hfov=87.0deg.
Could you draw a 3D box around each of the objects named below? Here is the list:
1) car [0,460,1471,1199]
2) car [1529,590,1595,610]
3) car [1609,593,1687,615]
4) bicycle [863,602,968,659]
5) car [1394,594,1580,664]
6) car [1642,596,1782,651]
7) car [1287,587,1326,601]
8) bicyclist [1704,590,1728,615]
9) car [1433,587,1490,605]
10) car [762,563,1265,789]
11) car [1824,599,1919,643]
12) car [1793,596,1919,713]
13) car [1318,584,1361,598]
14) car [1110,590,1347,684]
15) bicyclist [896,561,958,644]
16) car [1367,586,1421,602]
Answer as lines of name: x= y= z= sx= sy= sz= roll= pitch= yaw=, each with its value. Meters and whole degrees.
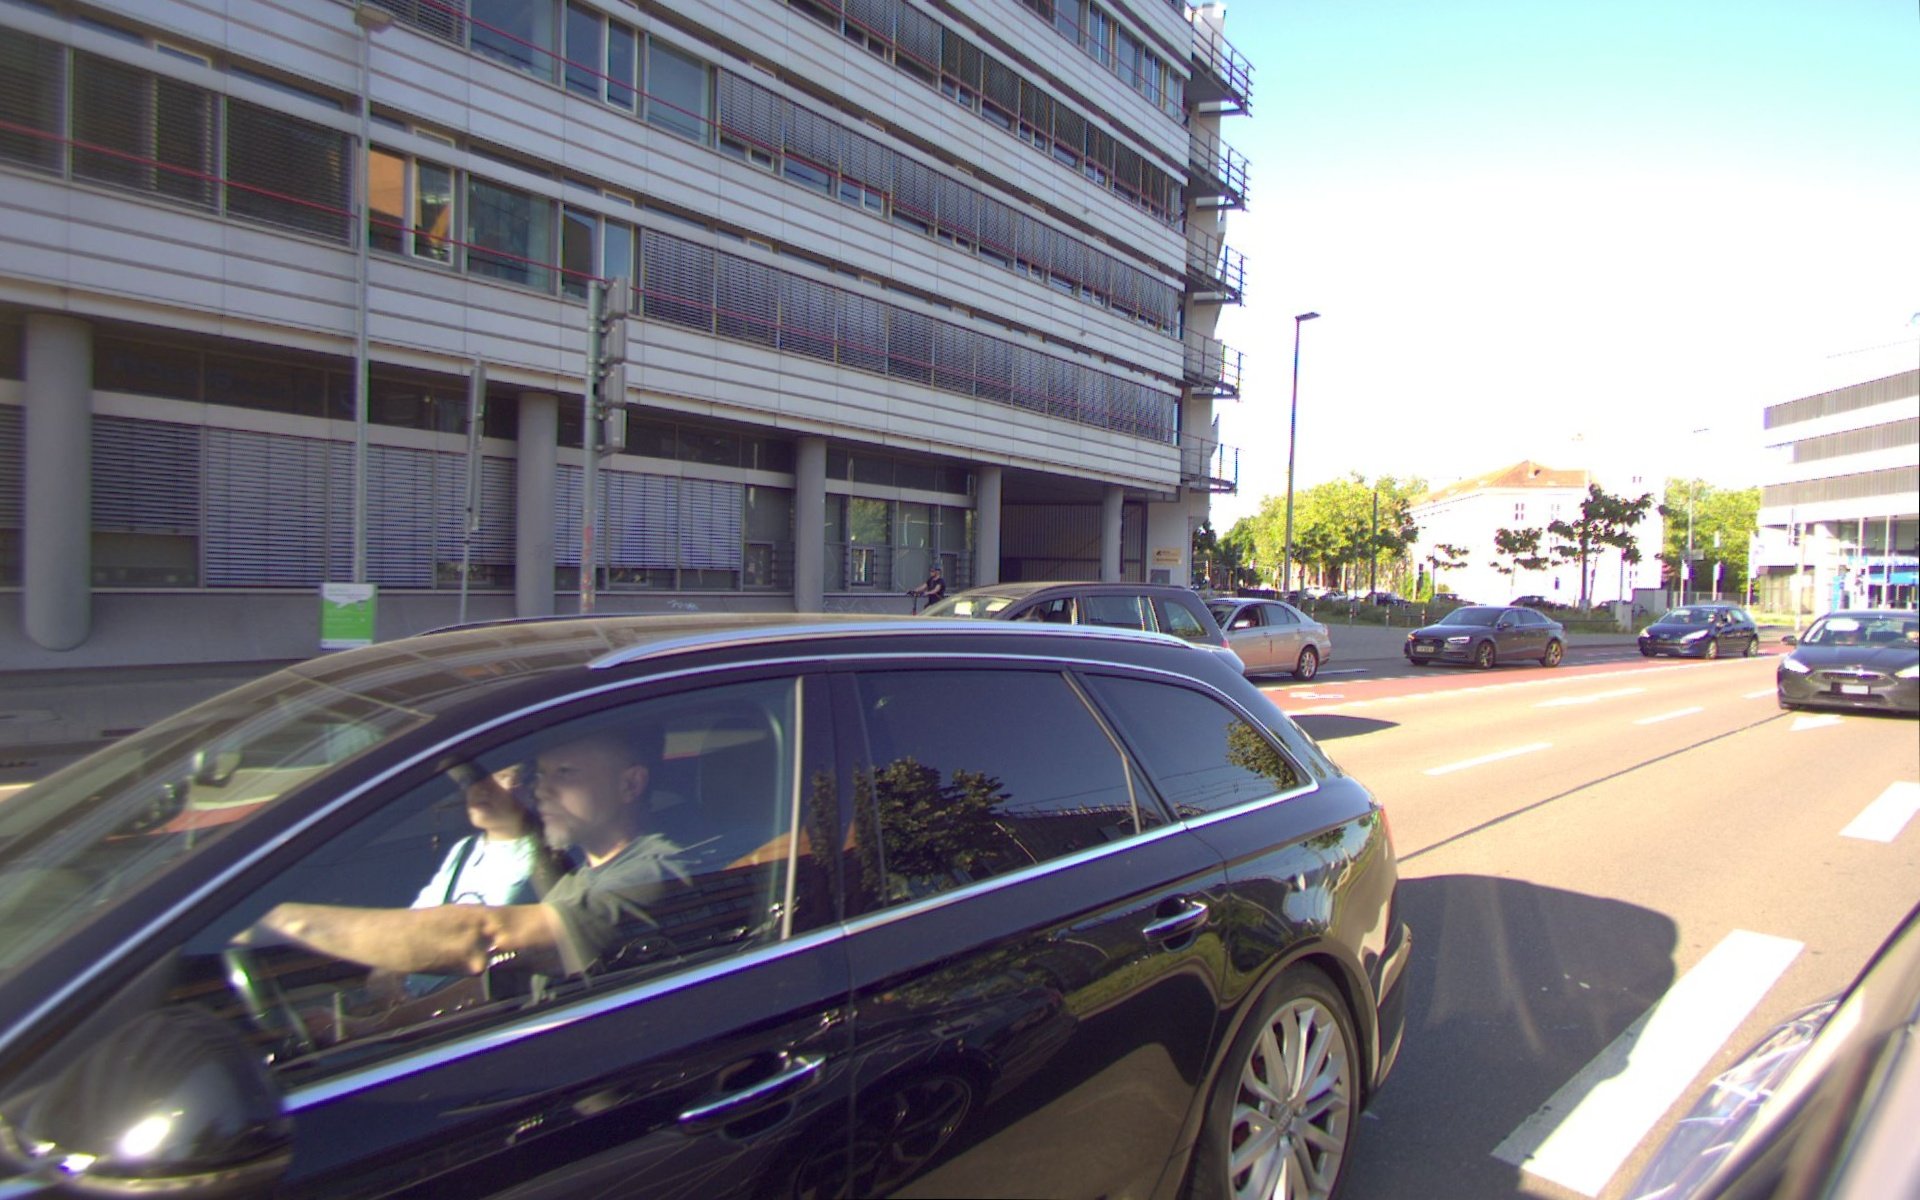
car: x=-1.012 y=0.650 z=1.798 sx=4.416 sy=1.511 sz=1.814 roll=0 pitch=-1 yaw=-40
car: x=47.059 y=-0.004 z=79.217 sx=1.958 sy=1.439 sz=4.008 roll=0 pitch=1 yaw=-23
car: x=49.938 y=0.255 z=73.580 sx=1.958 sy=1.439 sz=4.304 roll=0 pitch=1 yaw=-23
bicycle: x=-0.853 y=0.583 z=19.940 sx=2.165 sy=1.045 sz=0.500 roll=0 pitch=1 yaw=-38
car: x=12.059 y=0.620 z=23.130 sx=4.026 sy=1.459 sz=1.718 roll=0 pitch=1 yaw=-26
car: x=21.516 y=0.674 z=28.951 sx=3.919 sy=1.464 sz=1.739 roll=1 pitch=0 yaw=-29
car: x=36.299 y=-0.651 z=106.081 sx=1.894 sy=1.393 sz=4.009 roll=1 pitch=1 yaw=-17
bicyclist: x=50.023 y=0.164 z=66.980 sx=0.862 sy=1.627 sz=1.009 roll=0 pitch=1 yaw=-30
car: x=43.188 y=-0.397 z=87.231 sx=1.958 sy=1.439 sz=4.008 roll=0 pitch=1 yaw=-23
car: x=0.589 y=0.535 z=9.233 sx=4.374 sy=1.649 sz=1.695 roll=0 pitch=1 yaw=-31
car: x=32.845 y=0.743 z=36.381 sx=3.920 sy=1.463 sz=1.442 roll=1 pitch=1 yaw=-30
car: x=13.604 y=0.697 z=14.636 sx=4.080 sy=1.451 sz=1.689 roll=-1 pitch=1 yaw=-40
car: x=37.683 y=-0.882 z=100.556 sx=1.958 sy=1.259 sz=4.009 roll=1 pitch=1 yaw=-17
car: x=4.849 y=0.575 z=18.004 sx=4.406 sy=1.449 sz=1.756 roll=0 pitch=2 yaw=-38
bicyclist: x=-0.652 y=0.036 z=20.038 sx=1.024 sy=1.586 sz=0.626 roll=0 pitch=1 yaw=-37
car: x=40.189 y=-0.572 z=93.849 sx=1.958 sy=1.439 sz=4.536 roll=1 pitch=1 yaw=-21
